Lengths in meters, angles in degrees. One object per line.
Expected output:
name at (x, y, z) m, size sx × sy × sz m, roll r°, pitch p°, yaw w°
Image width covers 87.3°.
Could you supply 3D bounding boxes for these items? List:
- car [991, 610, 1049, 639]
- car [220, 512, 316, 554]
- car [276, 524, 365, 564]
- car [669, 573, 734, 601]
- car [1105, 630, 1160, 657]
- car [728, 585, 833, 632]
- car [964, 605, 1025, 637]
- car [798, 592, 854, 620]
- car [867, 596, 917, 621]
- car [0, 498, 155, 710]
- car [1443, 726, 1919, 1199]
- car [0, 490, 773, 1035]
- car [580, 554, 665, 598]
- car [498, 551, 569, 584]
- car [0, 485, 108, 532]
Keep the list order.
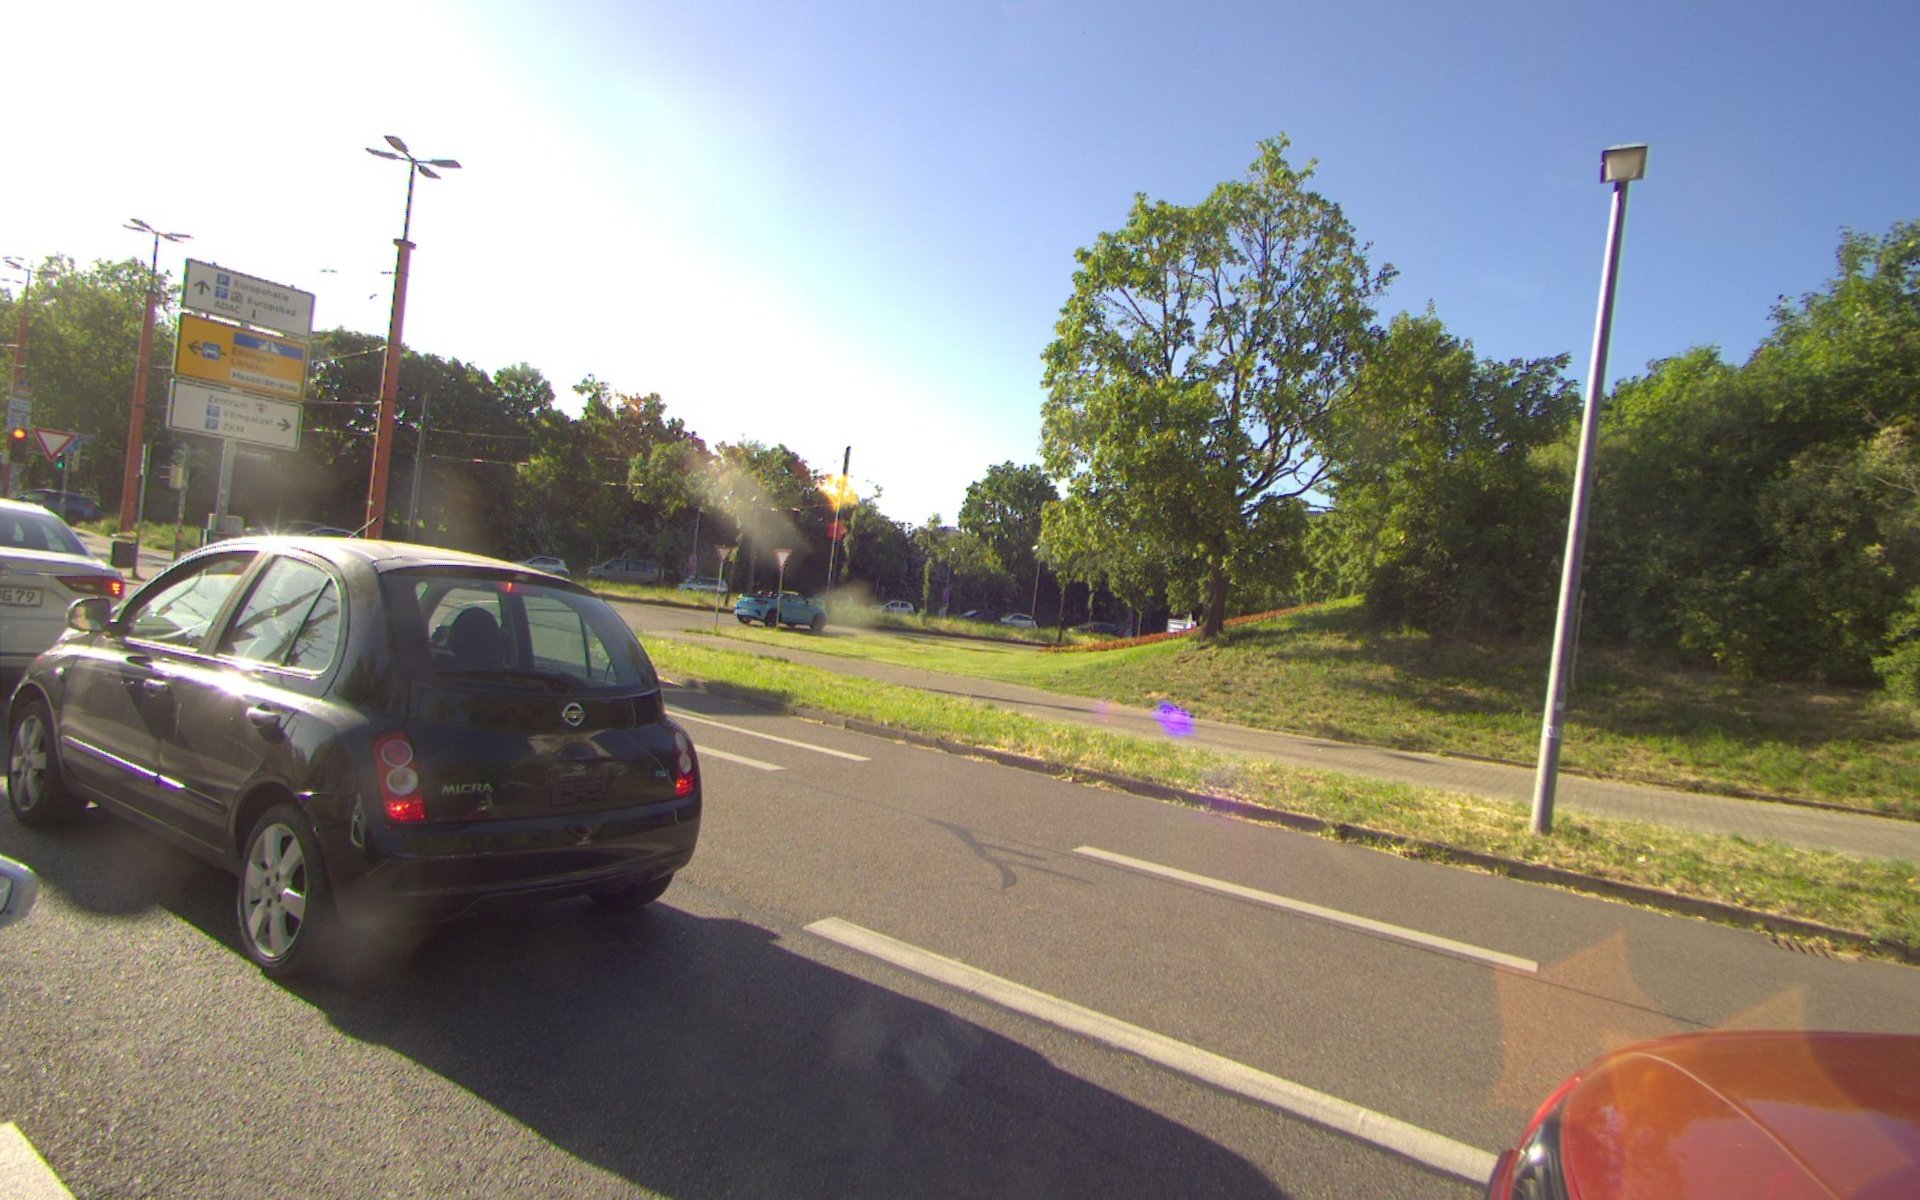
car at (4.792, 1.943, 80.121) m, size 4.195 × 1.701 × 1.690 m, roll 8°, pitch -1°, yaw -29°
car at (-38.072, -3.657, 55.496) m, size 4.090 × 1.663 × 1.838 m, roll 8°, pitch -1°, yaw -31°
car at (-33.838, -2.955, 53.325) m, size 3.791 × 1.541 × 1.682 m, roll 8°, pitch -1°, yaw -31°
car at (-17.250, -0.867, 67.211) m, size 3.804 × 1.278 × 1.590 m, roll 9°, pitch -3°, yaw -32°
car at (14.828, 3.751, 86.420) m, size 4.257 × 1.725 × 1.833 m, roll 8°, pitch -1°, yaw -29°
car at (-7.200, 0.379, 40.707) m, size 1.711 × 1.469 × 4.121 m, roll 9°, pitch 2°, yaw 32°
car at (2.516, 1.566, 73.661) m, size 3.960 × 1.776 × 1.903 m, roll 9°, pitch -2°, yaw -31°
car at (-9.115, 0.422, 68.285) m, size 3.369 × 1.475 × 1.453 m, roll 8°, pitch -1°, yaw -31°
car at (-5.019, 0.651, 74.465) m, size 3.413 × 1.384 × 1.280 m, roll 9°, pitch -2°, yaw -31°
car at (-8.349, -0.172, 8.023) m, size 4.130 × 1.454 × 1.723 m, roll 7°, pitch -1°, yaw 33°
car at (2.608, 1.150, 1.028) m, size 3.700 × 1.455 × 1.644 m, roll 6°, pitch -2°, yaw 33°
car at (-2.842, 0.469, 4.701) m, size 3.555 × 1.518 × 1.657 m, roll 7°, pitch -2°, yaw 32°
car at (-20.639, -1.470, 61.505) m, size 4.533 × 2.038 × 1.986 m, roll 8°, pitch 0°, yaw -28°
car at (-26.134, -1.973, 61.669) m, size 3.710 × 1.491 × 1.587 m, roll 8°, pitch -1°, yaw -32°
car at (-43.258, -4.337, 47.604) m, size 4.089 × 1.617 × 1.814 m, roll 8°, pitch -1°, yaw -31°
